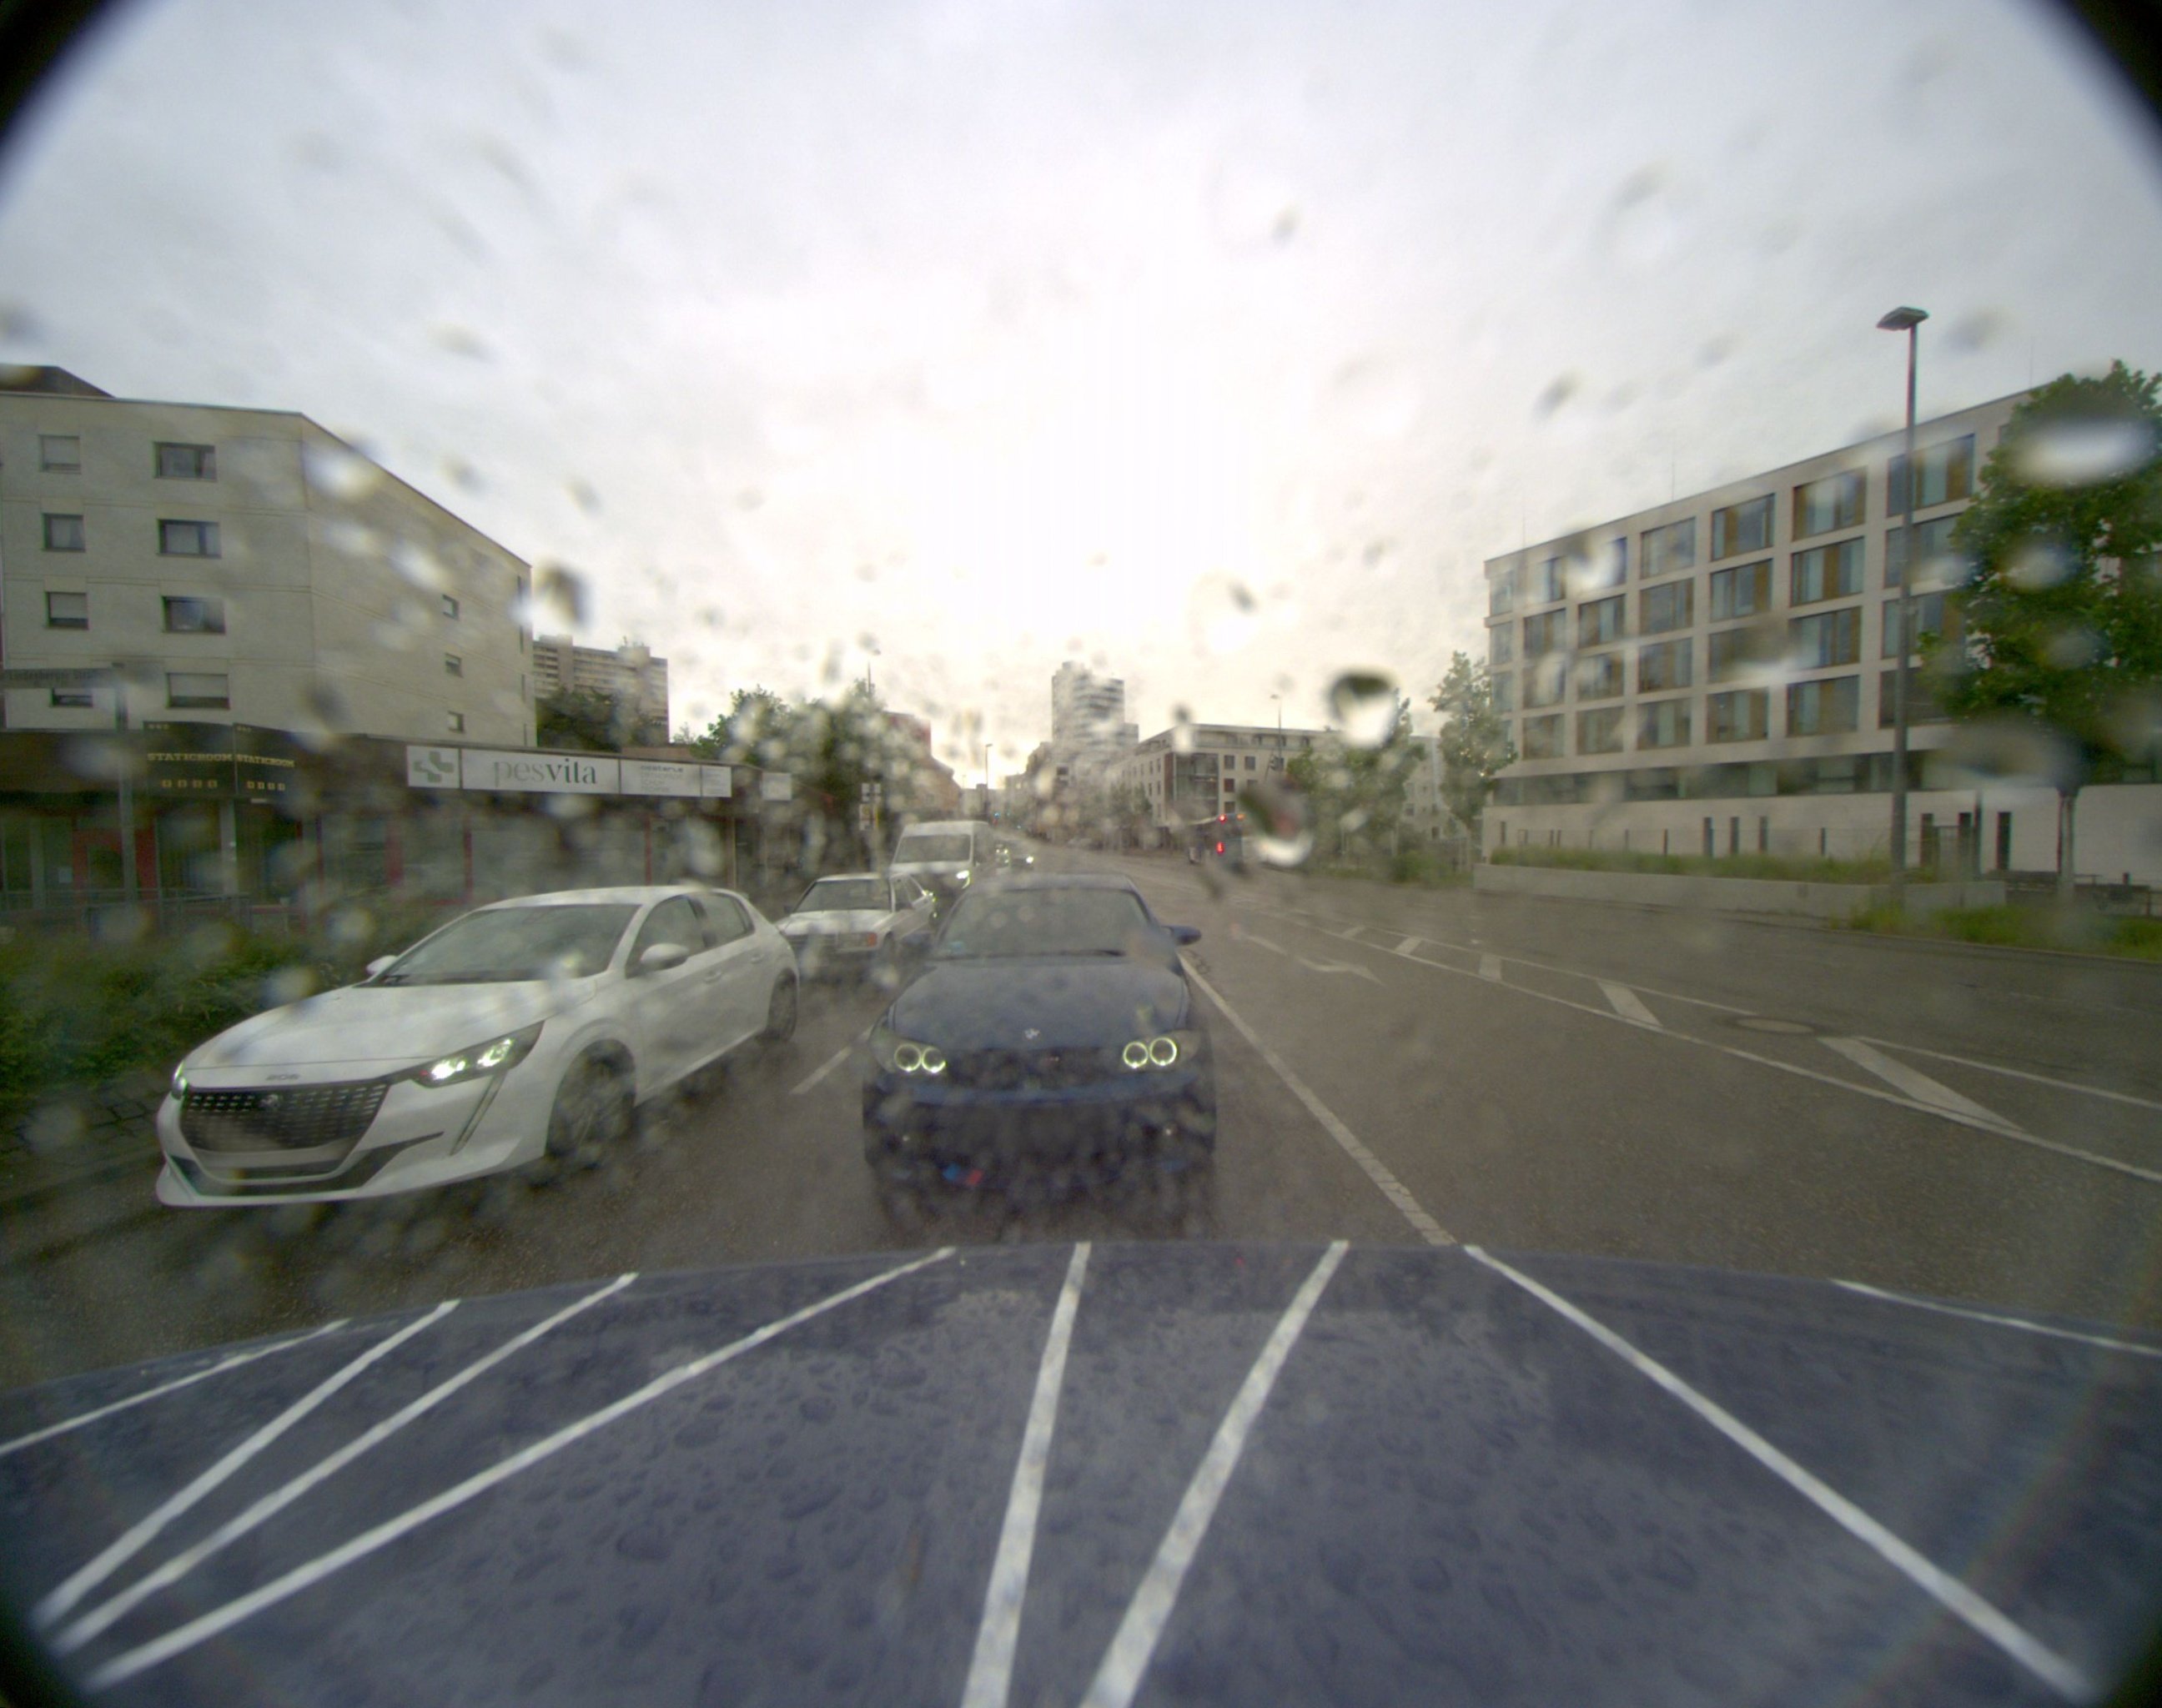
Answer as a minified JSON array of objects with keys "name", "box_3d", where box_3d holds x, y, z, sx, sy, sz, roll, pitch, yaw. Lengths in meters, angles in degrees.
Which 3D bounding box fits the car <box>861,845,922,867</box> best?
[{"name":"car","box_3d":[-13.186,0.112,53.053,4.000,1.419,1.882,-1,1,-10]}]

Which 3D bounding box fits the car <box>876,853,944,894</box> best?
[{"name":"car","box_3d":[-7.010,0.767,31.578,1.788,1.481,4.000,-2,1,1]}]

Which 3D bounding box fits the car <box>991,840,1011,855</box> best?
[{"name":"car","box_3d":[-9.650,-0.808,92.194,1.879,1.745,4.000,1,0,1]}]

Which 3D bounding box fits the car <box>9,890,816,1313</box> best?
[{"name":"car","box_3d":[-3.367,1.085,5.072,1.666,1.407,4.114,-2,1,1]}]

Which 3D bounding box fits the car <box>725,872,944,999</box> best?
[{"name":"car","box_3d":[-3.356,1.043,11.268,1.788,1.338,4.162,-2,1,1]}]

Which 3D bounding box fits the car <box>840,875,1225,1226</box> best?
[{"name":"car","box_3d":[-0.258,0.942,5.431,1.693,1.380,3.999,-2,1,-1]}]

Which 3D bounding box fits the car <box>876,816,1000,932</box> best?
[{"name":"car","box_3d":[-3.482,0.377,19.892,2.197,2.503,6.120,-1,1,-2]}]

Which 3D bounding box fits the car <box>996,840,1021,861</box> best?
[{"name":"car","box_3d":[-7.013,-0.372,74.196,1.998,2.002,3.999,0,1,1]}]

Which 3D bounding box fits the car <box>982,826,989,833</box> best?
[{"name":"car","box_3d":[-26.716,-6.770,211.541,1.666,1.625,3.801,-2,1,-11]}]

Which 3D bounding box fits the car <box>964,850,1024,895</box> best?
[{"name":"car","box_3d":[-3.345,0.678,30.054,1.803,1.530,3.999,-2,1,1]}]

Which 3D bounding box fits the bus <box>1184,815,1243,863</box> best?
[{"name":"bus","box_3d":[9.181,-1.017,53.635,2.798,3.096,8.883,0,1,1]}]

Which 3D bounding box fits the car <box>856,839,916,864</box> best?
[{"name":"car","box_3d":[-14.138,-0.186,55.306,4.000,1.769,1.882,-1,1,-10]}]

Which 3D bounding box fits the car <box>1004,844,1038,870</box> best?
[{"name":"car","box_3d":[-3.937,0.191,50.822,1.999,1.559,3.998,-2,1,-1]}]

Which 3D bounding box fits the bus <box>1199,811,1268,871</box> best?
[{"name":"bus","box_3d":[8.732,-0.745,44.491,2.783,3.096,9.369,0,1,4]}]
